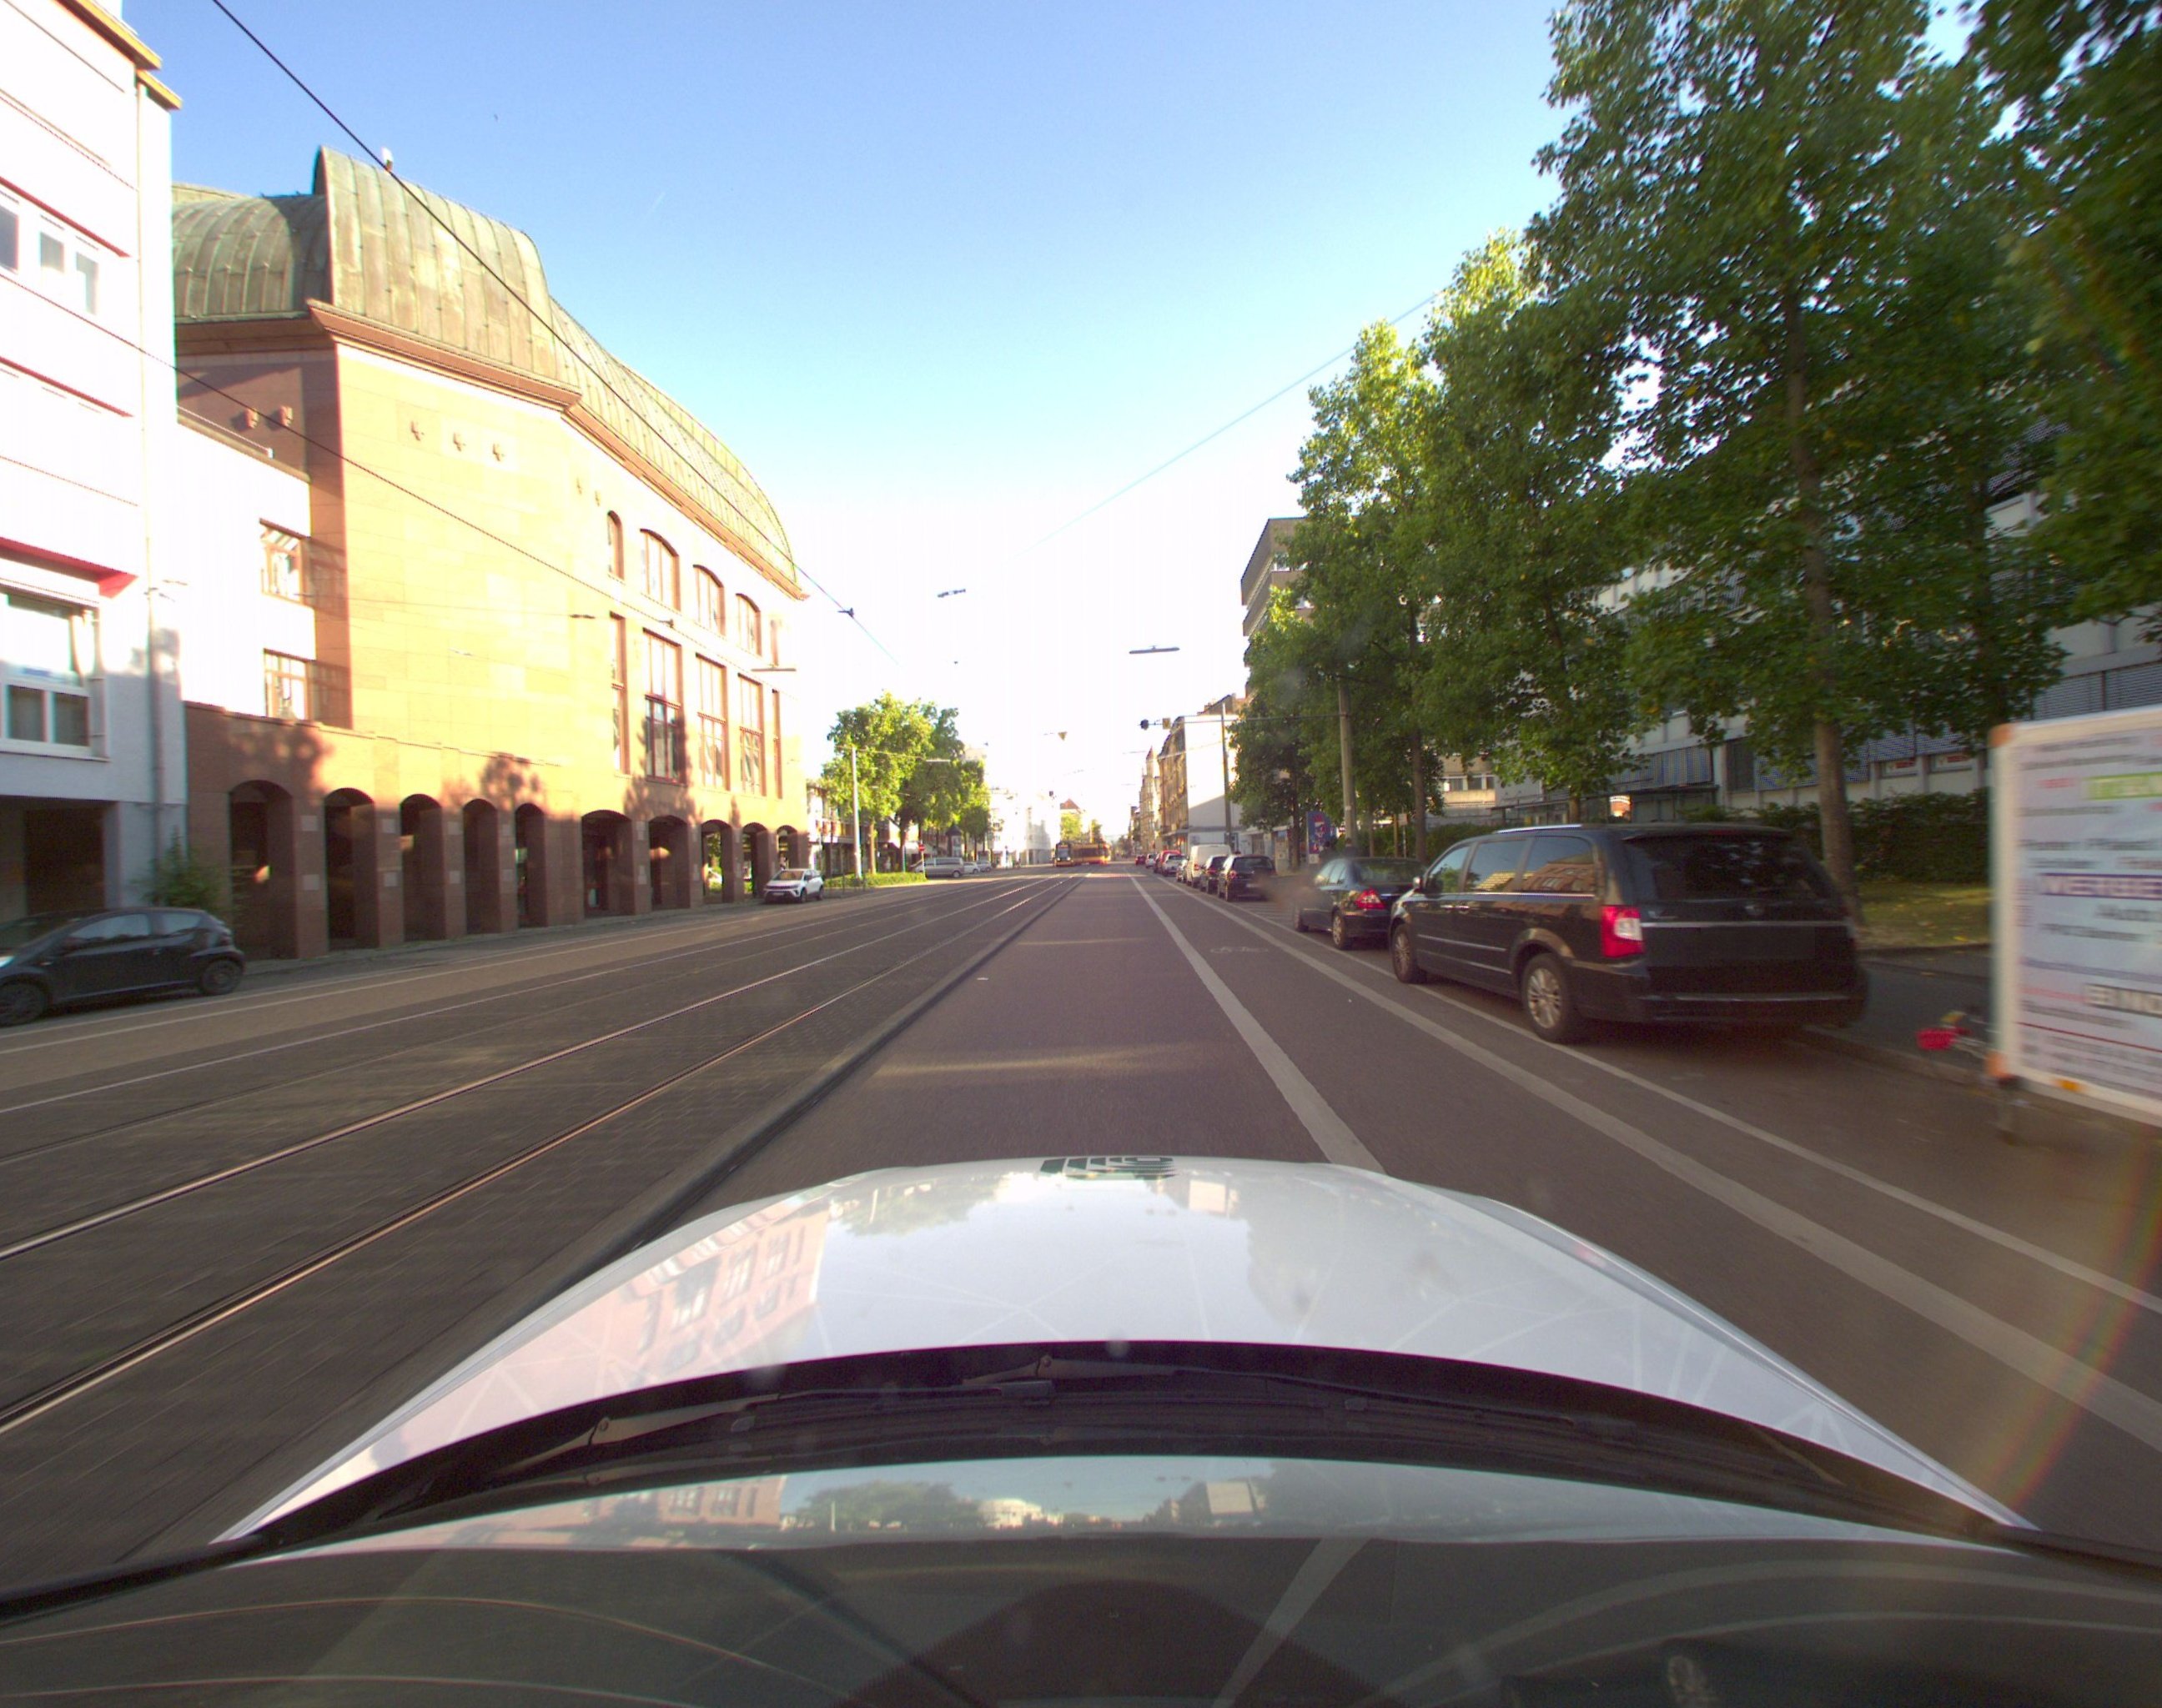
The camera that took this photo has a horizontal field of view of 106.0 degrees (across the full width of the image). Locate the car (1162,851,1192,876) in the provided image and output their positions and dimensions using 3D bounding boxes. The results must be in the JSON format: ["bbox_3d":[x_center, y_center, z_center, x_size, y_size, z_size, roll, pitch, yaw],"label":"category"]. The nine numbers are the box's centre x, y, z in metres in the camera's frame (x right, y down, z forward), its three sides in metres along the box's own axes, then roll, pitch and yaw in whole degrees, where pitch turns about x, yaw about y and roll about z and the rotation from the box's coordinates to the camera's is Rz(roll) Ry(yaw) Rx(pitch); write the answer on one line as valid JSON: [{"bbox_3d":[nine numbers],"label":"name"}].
[{"bbox_3d":[6.617,0.619,56.519,1.716,1.567,4.085,-3,0,2],"label":"car"}]

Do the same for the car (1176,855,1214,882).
[{"bbox_3d":[6.142,0.764,44.149,1.615,1.370,3.933,0,0,2],"label":"car"}]

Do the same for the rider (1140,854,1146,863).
[{"bbox_3d":[9.945,0.700,131.237,0.713,1.481,0.881,0,0,-18],"label":"rider"}]

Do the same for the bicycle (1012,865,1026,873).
[{"bbox_3d":[-9.559,2.349,125.661,2.001,1.239,0.704,0,0,26],"label":"bicycle"}]

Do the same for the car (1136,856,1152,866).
[{"bbox_3d":[8.936,0.924,116.142,2.057,1.389,4.227,0,0,2],"label":"car"}]

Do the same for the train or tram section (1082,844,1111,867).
[{"bbox_3d":[2.713,0.263,139.620,2.674,3.752,11.327,0,0,12],"label":"train or tram section"}]

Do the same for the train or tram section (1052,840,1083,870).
[{"bbox_3d":[-1.758,0.151,115.379,2.677,3.960,12.114,0,0,7],"label":"train or tram section"}]

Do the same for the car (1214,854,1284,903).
[{"bbox_3d":[5.422,0.738,26.707,1.614,1.431,3.987,-2,0,3],"label":"car"}]

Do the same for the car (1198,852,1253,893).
[{"bbox_3d":[5.613,0.672,32.022,1.614,1.473,3.973,-1,0,3],"label":"car"}]

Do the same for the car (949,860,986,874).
[{"bbox_3d":[-13.331,1.538,95.811,3.892,1.627,1.858,-1,0,-29],"label":"car"}]

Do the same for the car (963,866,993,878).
[{"bbox_3d":[-13.405,2.290,105.918,3.541,1.481,1.567,-1,0,-30],"label":"car"}]

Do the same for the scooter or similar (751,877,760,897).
[{"bbox_3d":[-15.892,1.613,39.779,0.363,0.938,0.967,0,0,-18],"label":"scooter or similar"}]

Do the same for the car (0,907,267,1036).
[{"bbox_3d":[-14.581,1.616,11.772,1.860,1.450,3.588,-1,0,5],"label":"car"}]

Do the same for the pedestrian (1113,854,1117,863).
[{"bbox_3d":[7.445,1.002,179.320,0.916,2.013,0.759,0,0,2],"label":"pedestrian"}]

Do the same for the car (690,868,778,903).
[{"bbox_3d":[-22.854,2.052,53.791,4.917,1.993,2.144,-2,0,-10],"label":"car"}]

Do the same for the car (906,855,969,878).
[{"bbox_3d":[-13.465,1.186,76.514,5.285,2.043,2.395,0,-2,-30],"label":"car"}]

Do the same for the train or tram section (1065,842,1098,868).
[{"bbox_3d":[0.274,0.193,127.715,2.674,3.878,12.884,0,0,11],"label":"train or tram section"}]

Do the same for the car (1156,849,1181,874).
[{"bbox_3d":[6.709,0.555,62.702,1.615,1.813,4.085,0,0,2],"label":"car"}]

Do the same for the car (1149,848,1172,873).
[{"bbox_3d":[6.533,0.516,67.279,1.615,2.006,3.833,0,0,2],"label":"car"}]

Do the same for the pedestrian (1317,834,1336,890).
[{"bbox_3d":[7.712,0.244,25.566,0.422,1.709,0.456,-4,2,20],"label":"pedestrian"}]

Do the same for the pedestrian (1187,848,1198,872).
[{"bbox_3d":[8.364,0.454,61.166,0.727,1.722,0.835,-2,0,3],"label":"pedestrian"}]

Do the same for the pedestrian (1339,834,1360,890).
[{"bbox_3d":[8.313,0.244,25.225,0.494,1.709,0.456,-4,2,20],"label":"pedestrian"}]

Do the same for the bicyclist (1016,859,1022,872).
[{"bbox_3d":[-9.610,1.712,125.683,0.715,2.013,0.705,0,0,27],"label":"bicyclist"}]

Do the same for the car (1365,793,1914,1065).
[{"bbox_3d":[4.629,0.501,8.032,1.942,1.788,5.182,-1,0,1],"label":"car"}]

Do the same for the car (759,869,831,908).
[{"bbox_3d":[-13.439,1.587,38.508,1.863,1.600,4.253,-2,0,0],"label":"car"}]

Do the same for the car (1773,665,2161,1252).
[{"bbox_3d":[4.732,0.360,2.815,1.697,2.120,3.712,-2,-1,5],"label":"car"}]

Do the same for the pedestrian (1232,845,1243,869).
[{"bbox_3d":[11.669,0.222,60.651,0.658,1.722,0.835,-2,0,3],"label":"pedestrian"}]

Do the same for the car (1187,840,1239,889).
[{"bbox_3d":[6.054,0.438,37.843,1.961,2.014,4.565,-4,0,5],"label":"car"}]

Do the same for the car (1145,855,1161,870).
[{"bbox_3d":[7.885,0.928,89.377,1.615,1.555,4.085,0,0,2],"label":"car"}]

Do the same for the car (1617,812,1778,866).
[{"bbox_3d":[19.709,-0.499,26.329,1.859,1.494,4.438,-3,1,1],"label":"car"}]

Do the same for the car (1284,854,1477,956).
[{"bbox_3d":[4.880,0.746,14.021,1.710,1.427,4.677,-2,0,2],"label":"car"}]

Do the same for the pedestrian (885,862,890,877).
[{"bbox_3d":[-17.463,1.353,73.566,0.363,1.343,0.480,0,0,-18],"label":"pedestrian"}]
